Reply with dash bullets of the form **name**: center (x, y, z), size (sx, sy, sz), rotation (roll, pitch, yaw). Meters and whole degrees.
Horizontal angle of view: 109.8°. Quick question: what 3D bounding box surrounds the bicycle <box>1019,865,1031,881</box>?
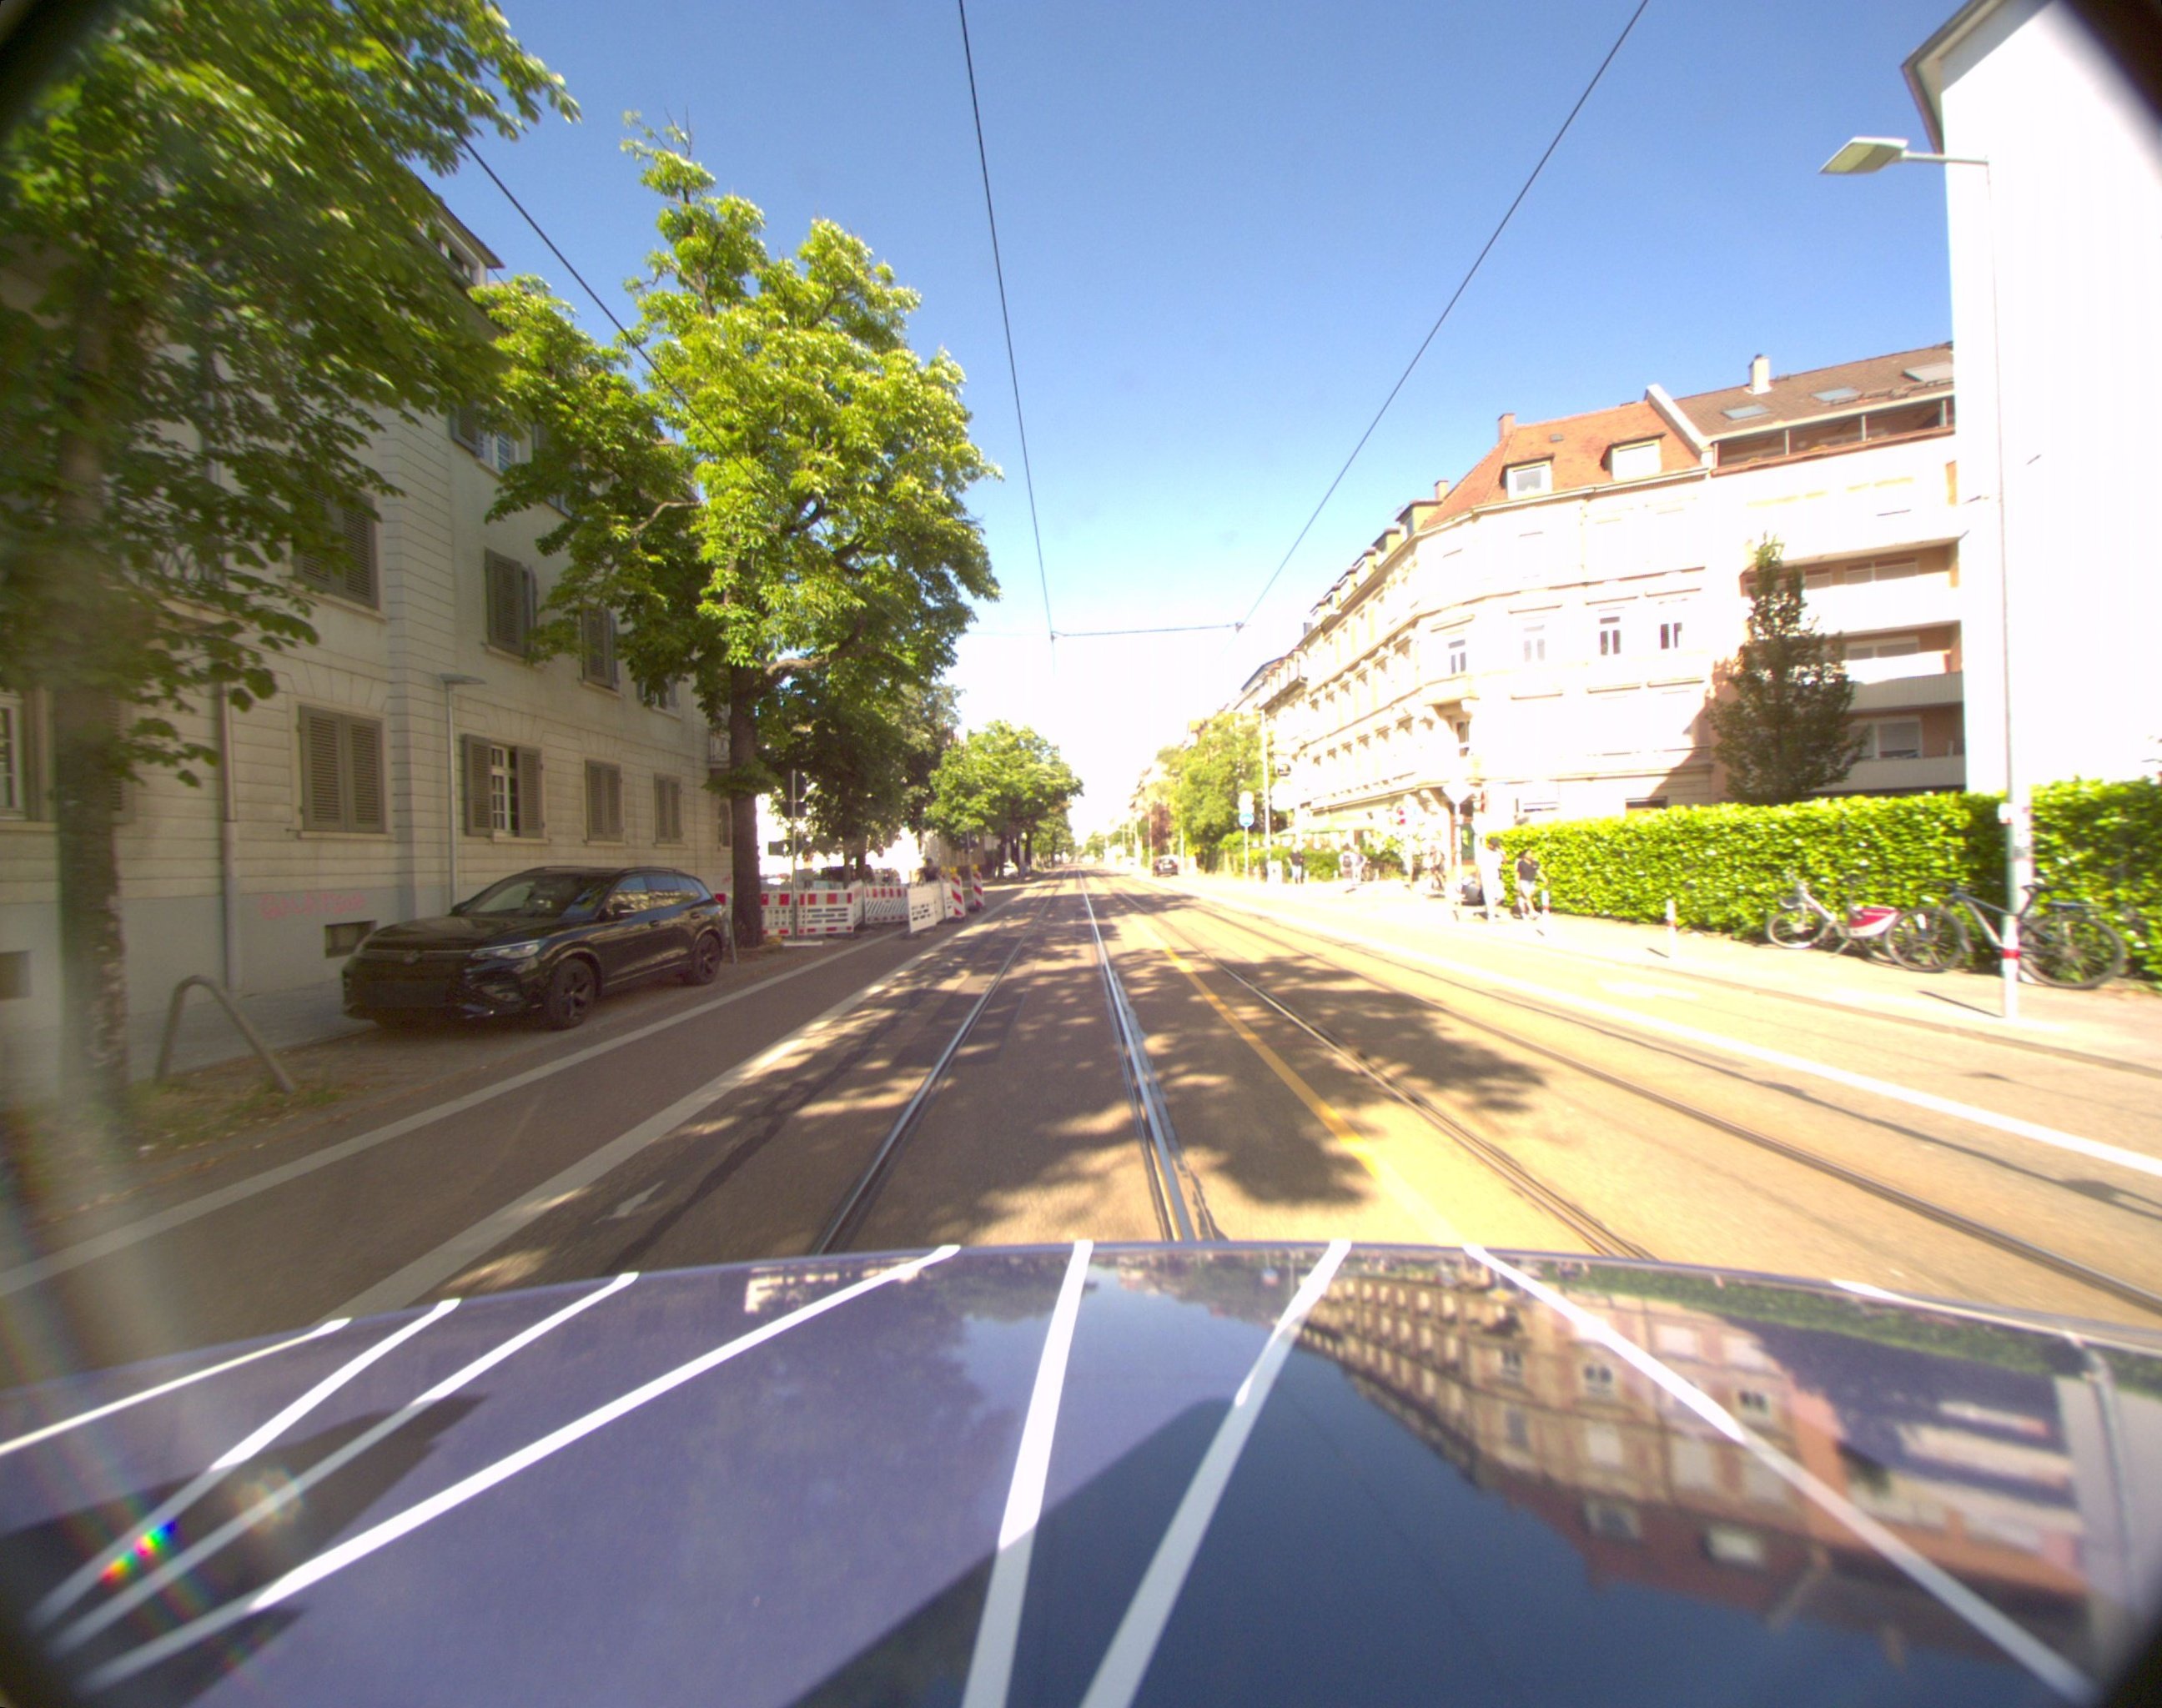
- **bicycle**: center (-4.098, 1.356, 55.531), size (0.776, 1.080, 2.058), rotation (-3, 0, -3)

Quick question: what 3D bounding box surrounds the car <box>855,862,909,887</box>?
- **car**: center (-14.530, 1.483, 55.412), size (3.431, 1.530, 1.724), rotation (-2, 3, 28)

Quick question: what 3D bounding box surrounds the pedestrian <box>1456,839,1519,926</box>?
- **pedestrian**: center (8.321, 0.568, 15.575), size (0.756, 1.704, 0.808), rotation (-4, 1, 0)

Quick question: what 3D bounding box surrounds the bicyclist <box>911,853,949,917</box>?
- **bicyclist**: center (-4.255, 0.848, 21.478), size (0.763, 1.728, 1.046), rotation (-4, 1, 0)

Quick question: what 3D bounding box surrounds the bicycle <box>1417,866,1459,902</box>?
- **bicycle**: center (11.827, 0.960, 25.173), size (0.705, 1.049, 1.838), rotation (-1, 2, 43)

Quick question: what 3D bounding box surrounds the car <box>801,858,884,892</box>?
- **car**: center (-15.700, 1.387, 49.977), size (5.055, 1.880, 2.003), rotation (-3, 2, 26)

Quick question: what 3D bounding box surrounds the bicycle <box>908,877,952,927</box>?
- **bicycle**: center (-4.227, 1.309, 21.400), size (0.763, 1.235, 2.096), rotation (-4, 0, 0)

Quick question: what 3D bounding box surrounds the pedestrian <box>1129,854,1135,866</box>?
- **pedestrian**: center (7.833, 0.966, 117.342), size (0.809, 1.825, 0.754), rotation (-2, 1, 8)

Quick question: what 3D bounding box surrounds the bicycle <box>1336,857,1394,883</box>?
- **bicycle**: center (12.645, 0.706, 33.909), size (2.244, 1.038, 0.876), rotation (-2, 2, 9)

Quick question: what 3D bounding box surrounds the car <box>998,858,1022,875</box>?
- **car**: center (-6.285, 1.092, 67.937), size (1.705, 1.463, 4.213), rotation (-1, 0, 0)

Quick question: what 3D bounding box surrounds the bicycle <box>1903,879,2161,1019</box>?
- **bicycle**: center (9.539, 0.858, 7.561), size (0.663, 1.083, 1.840), rotation (-5, 1, 0)

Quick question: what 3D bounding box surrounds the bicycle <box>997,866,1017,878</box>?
- **bicycle**: center (-6.096, 1.479, 62.724), size (1.570, 0.974, 0.640), rotation (-1, 0, -9)

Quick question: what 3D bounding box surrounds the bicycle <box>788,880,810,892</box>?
- **bicycle**: center (-17.895, 2.034, 48.238), size (1.379, 0.754, 0.420), rotation (-2, 1, 24)

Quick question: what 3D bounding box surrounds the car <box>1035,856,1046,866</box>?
- **car**: center (-6.449, 1.111, 120.897), size (1.761, 1.458, 4.613), rotation (-1, 0, -3)

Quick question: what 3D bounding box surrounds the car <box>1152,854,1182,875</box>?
- **car**: center (6.927, 0.819, 61.516), size (1.869, 1.567, 4.588), rotation (-1, 0, 0)

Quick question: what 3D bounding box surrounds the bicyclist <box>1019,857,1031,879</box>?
- **bicyclist**: center (-4.115, 1.016, 55.600), size (0.776, 1.505, 1.229), rotation (-3, 0, -3)

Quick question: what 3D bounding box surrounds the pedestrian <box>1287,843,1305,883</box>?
- **pedestrian**: center (9.694, 0.395, 34.276), size (0.558, 1.771, 0.538), rotation (-3, 1, -3)

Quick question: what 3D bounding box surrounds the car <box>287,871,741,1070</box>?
- **car**: center (-5.937, 1.061, 8.873), size (1.815, 1.616, 4.584), rotation (0, 0, 1)

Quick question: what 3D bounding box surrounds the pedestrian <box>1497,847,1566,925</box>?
- **pedestrian**: center (9.116, 0.627, 15.413), size (0.756, 1.469, 0.956), rotation (-4, 0, 0)

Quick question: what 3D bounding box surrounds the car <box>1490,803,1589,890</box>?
- **car**: center (16.394, -0.303, 27.456), size (1.889, 2.825, 4.788), rotation (-2, 2, 17)

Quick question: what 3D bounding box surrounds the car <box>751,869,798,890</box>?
- **car**: center (-24.211, 2.014, 60.018), size (3.493, 1.491, 1.440), rotation (-2, 2, 28)

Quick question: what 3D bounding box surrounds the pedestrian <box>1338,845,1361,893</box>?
- **pedestrian**: center (10.057, 0.553, 28.456), size (0.692, 1.758, 0.867), rotation (-2, 1, 16)

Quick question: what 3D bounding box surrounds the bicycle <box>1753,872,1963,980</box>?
- **bicycle**: center (9.518, 0.825, 9.430), size (0.663, 1.083, 1.840), rotation (-5, 1, 0)

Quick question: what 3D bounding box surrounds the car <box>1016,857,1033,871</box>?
- **car**: center (-6.397, 1.139, 86.438), size (1.824, 1.475, 4.748), rotation (-1, 0, -3)

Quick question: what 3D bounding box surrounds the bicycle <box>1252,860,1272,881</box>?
- **bicycle**: center (9.426, 0.837, 39.612), size (0.515, 1.032, 2.223), rotation (-3, 0, 0)

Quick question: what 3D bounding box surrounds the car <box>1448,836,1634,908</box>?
- **car**: center (12.347, 0.483, 20.703), size (4.045, 1.797, 1.794), rotation (-2, 2, 21)

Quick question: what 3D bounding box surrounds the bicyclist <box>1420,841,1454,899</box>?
- **bicyclist**: center (11.786, 0.527, 25.127), size (0.705, 1.843, 0.987), rotation (-1, 3, 43)

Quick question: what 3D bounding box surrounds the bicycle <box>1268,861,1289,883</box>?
- **bicycle**: center (9.288, 0.826, 35.784), size (0.528, 0.975, 1.777), rotation (-2, 0, 0)

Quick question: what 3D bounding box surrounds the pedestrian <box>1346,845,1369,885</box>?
- **pedestrian**: center (11.592, 0.464, 31.810), size (0.705, 1.645, 0.834), rotation (-1, 2, 31)
